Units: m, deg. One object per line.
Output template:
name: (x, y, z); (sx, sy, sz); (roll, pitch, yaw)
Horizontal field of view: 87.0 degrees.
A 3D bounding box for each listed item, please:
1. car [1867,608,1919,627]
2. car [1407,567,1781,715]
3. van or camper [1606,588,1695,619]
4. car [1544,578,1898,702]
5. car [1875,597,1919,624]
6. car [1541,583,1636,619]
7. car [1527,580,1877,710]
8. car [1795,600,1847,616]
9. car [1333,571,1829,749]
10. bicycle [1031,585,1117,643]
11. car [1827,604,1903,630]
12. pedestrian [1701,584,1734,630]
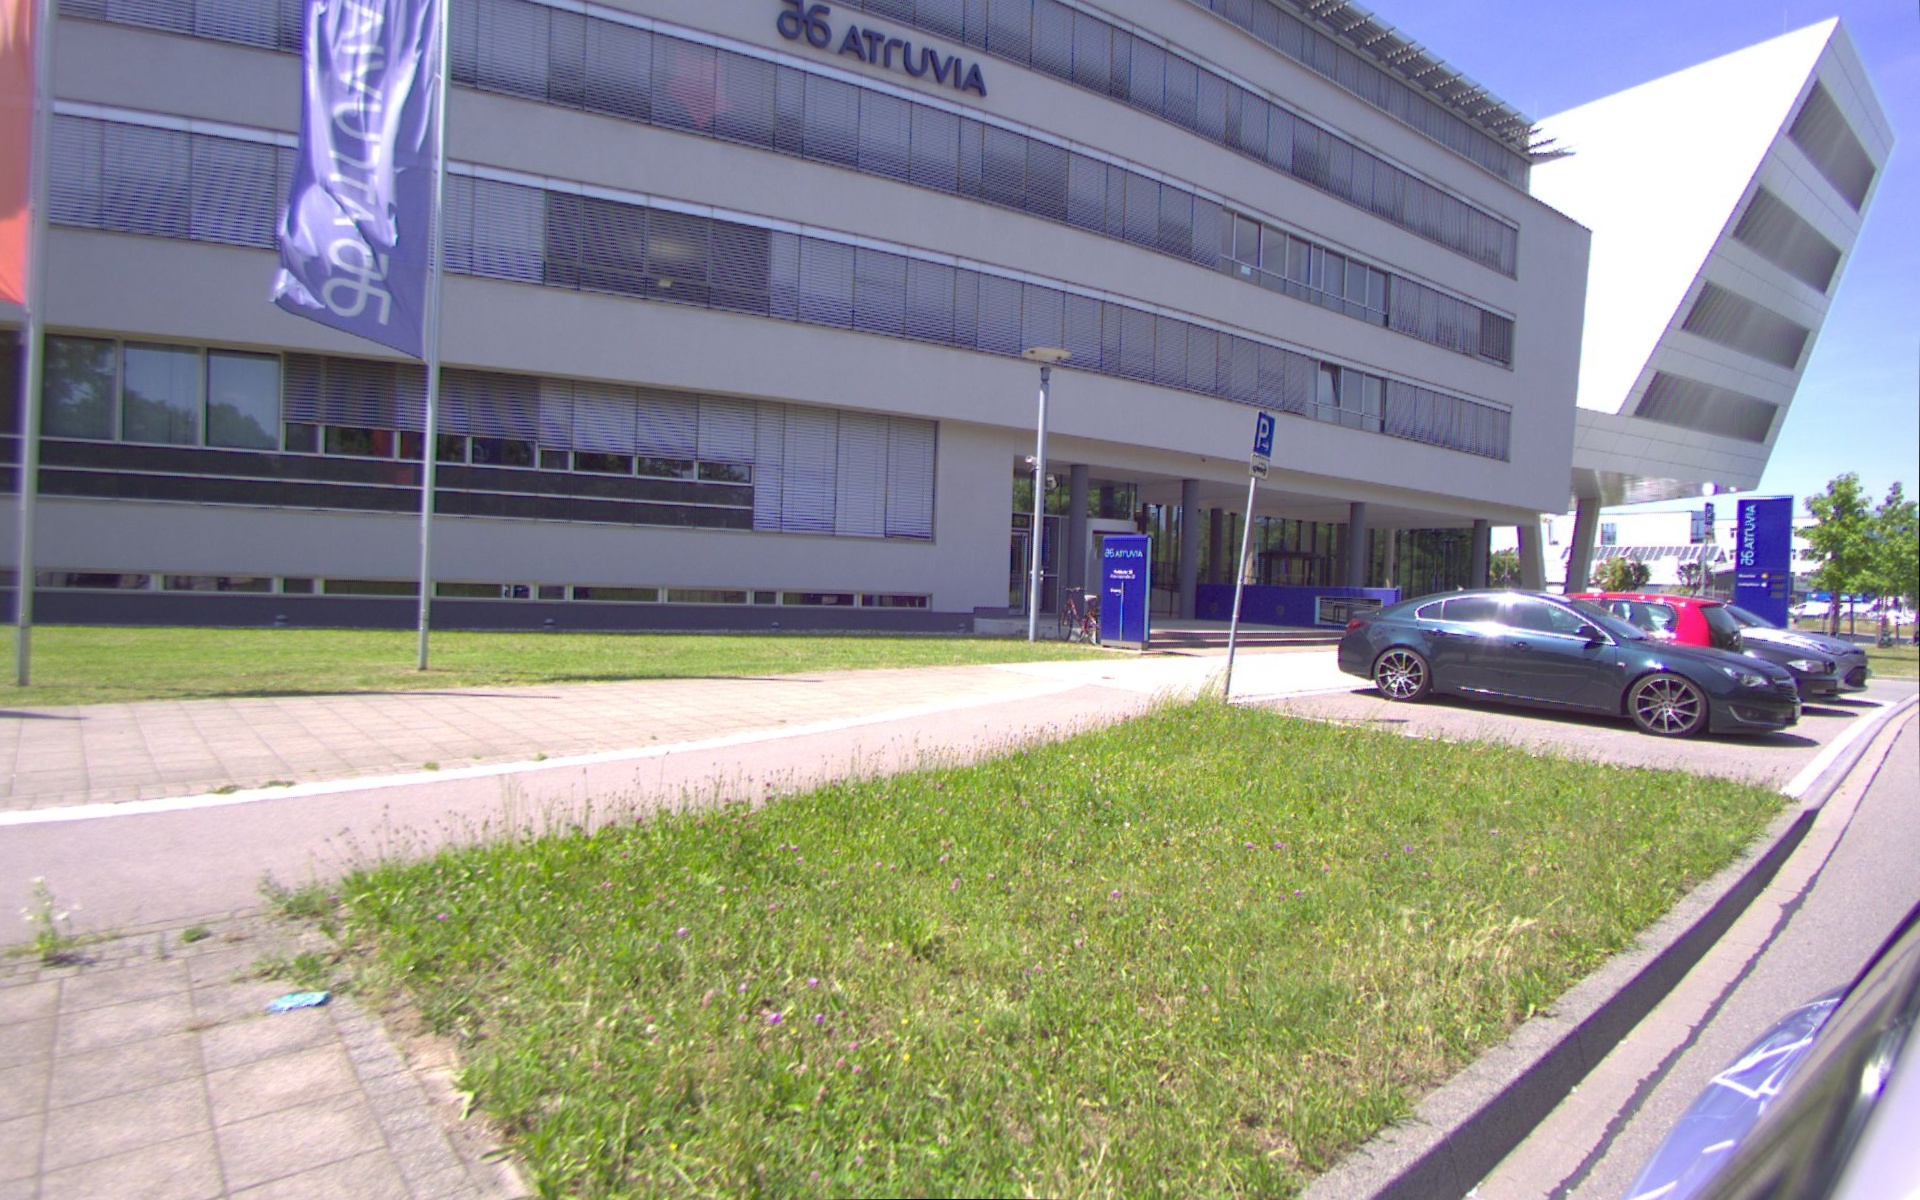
car: (72.171, 1.348, 77.378); (1.622, 1.410, 3.997); (1, 1, -38)
car: (8.615, 0.436, 14.041); (1.806, 1.675, 3.997); (1, 2, -39)
van or camper: (55.636, 0.258, 81.691); (1.671, 2.420, 5.707); (1, 0, -35)
car: (12.332, 0.540, 16.654); (1.754, 1.582, 4.331); (1, 3, -40)
car: (78.170, 0.882, 81.339); (2.123, 2.176, 6.501); (1, 1, -35)
car: (45.773, 0.066, 73.865); (1.962, 2.491, 5.588); (1, 0, -35)
car: (10.732, 0.547, 14.869); (1.626, 1.504, 3.818); (1, 3, -39)
car: (92.413, 0.859, 108.672); (1.671, 1.561, 3.921); (1, 1, -35)
car: (6.985, 0.524, 11.827); (1.796, 1.449, 4.576); (0, 4, -42)
bicycle: (2.205, 0.257, 19.851); (0.524, 1.073, 1.882); (1, 0, -37)
car: (64.276, 1.181, 71.924); (1.710, 1.695, 3.822); (1, 1, -38)
pedestrian: (28.434, 0.267, 37.976); (0.762, 1.681, 0.843); (1, 0, -43)
